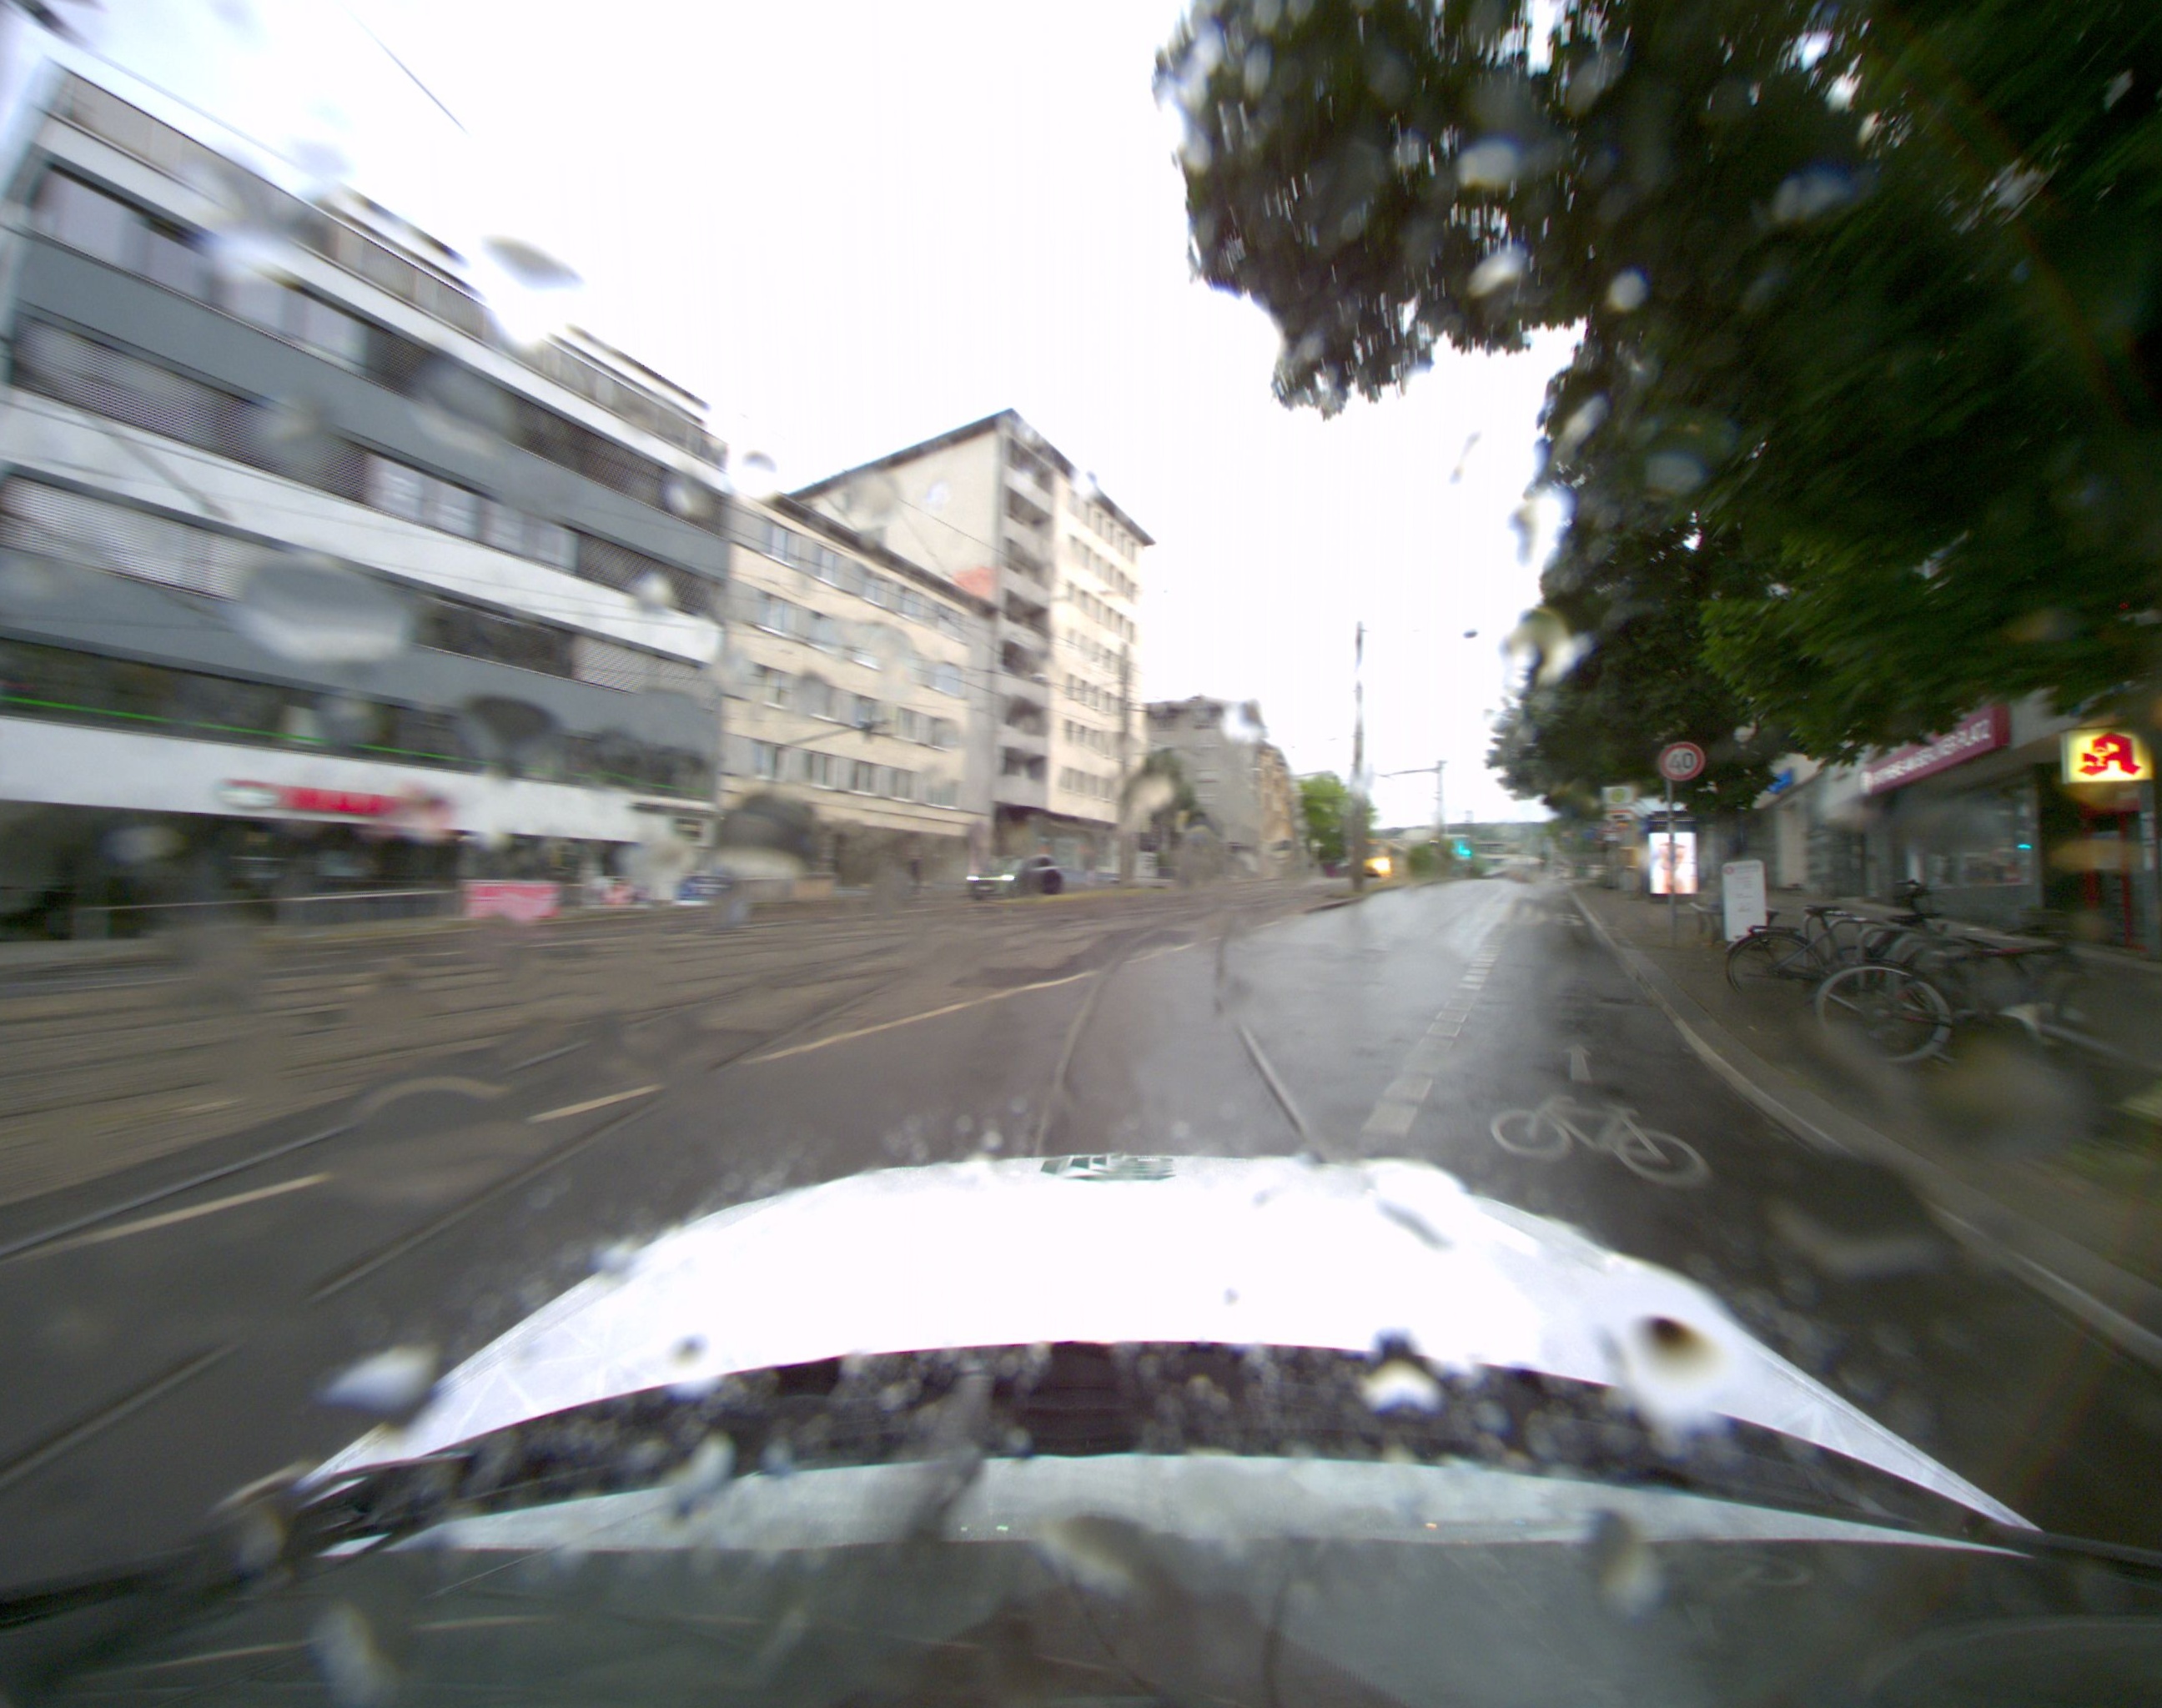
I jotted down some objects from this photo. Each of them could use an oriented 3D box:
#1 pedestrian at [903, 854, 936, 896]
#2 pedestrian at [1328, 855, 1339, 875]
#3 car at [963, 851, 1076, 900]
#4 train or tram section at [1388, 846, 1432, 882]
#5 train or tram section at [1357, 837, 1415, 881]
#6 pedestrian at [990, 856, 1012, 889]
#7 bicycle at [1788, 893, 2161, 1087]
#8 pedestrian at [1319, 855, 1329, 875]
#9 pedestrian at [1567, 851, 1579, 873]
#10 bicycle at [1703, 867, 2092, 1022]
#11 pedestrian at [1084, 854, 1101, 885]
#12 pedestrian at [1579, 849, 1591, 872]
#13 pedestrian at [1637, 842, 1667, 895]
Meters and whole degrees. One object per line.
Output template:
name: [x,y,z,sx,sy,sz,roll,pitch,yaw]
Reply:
pedestrian: [-6.645,0.870,33.466,0.879,1.681,1.005,-1,-1,31]
pedestrian: [22.109,0.970,71.354,0.725,1.791,0.701,-1,-1,28]
car: [-2.206,0.774,30.520,1.974,1.673,4.555,-1,-1,30]
train or tram section: [38.607,1.375,95.099,2.720,3.697,19.082,0,-2,28]
train or tram section: [29.618,0.708,78.322,2.720,3.697,19.082,0,-2,28]
pedestrian: [-4.069,0.928,41.398,0.672,1.681,1.004,-1,-1,28]
bicycle: [5.977,0.834,5.444,1.799,1.092,0.653,-1,0,33]
pedestrian: [21.418,0.981,71.703,0.725,1.791,0.701,-1,-1,28]
pedestrian: [40.339,0.677,66.785,0.693,1.815,0.982,-1,-1,27]
bicycle: [6.915,0.714,7.119,2.293,1.174,0.653,-1,-2,33]
pedestrian: [0.639,0.902,46.615,0.591,1.738,0.915,-1,-1,28]
pedestrian: [41.163,0.534,66.546,0.693,1.785,1.073,-1,-1,27]
pedestrian: [17.706,0.442,25.258,0.658,1.626,0.973,-1,-1,29]
